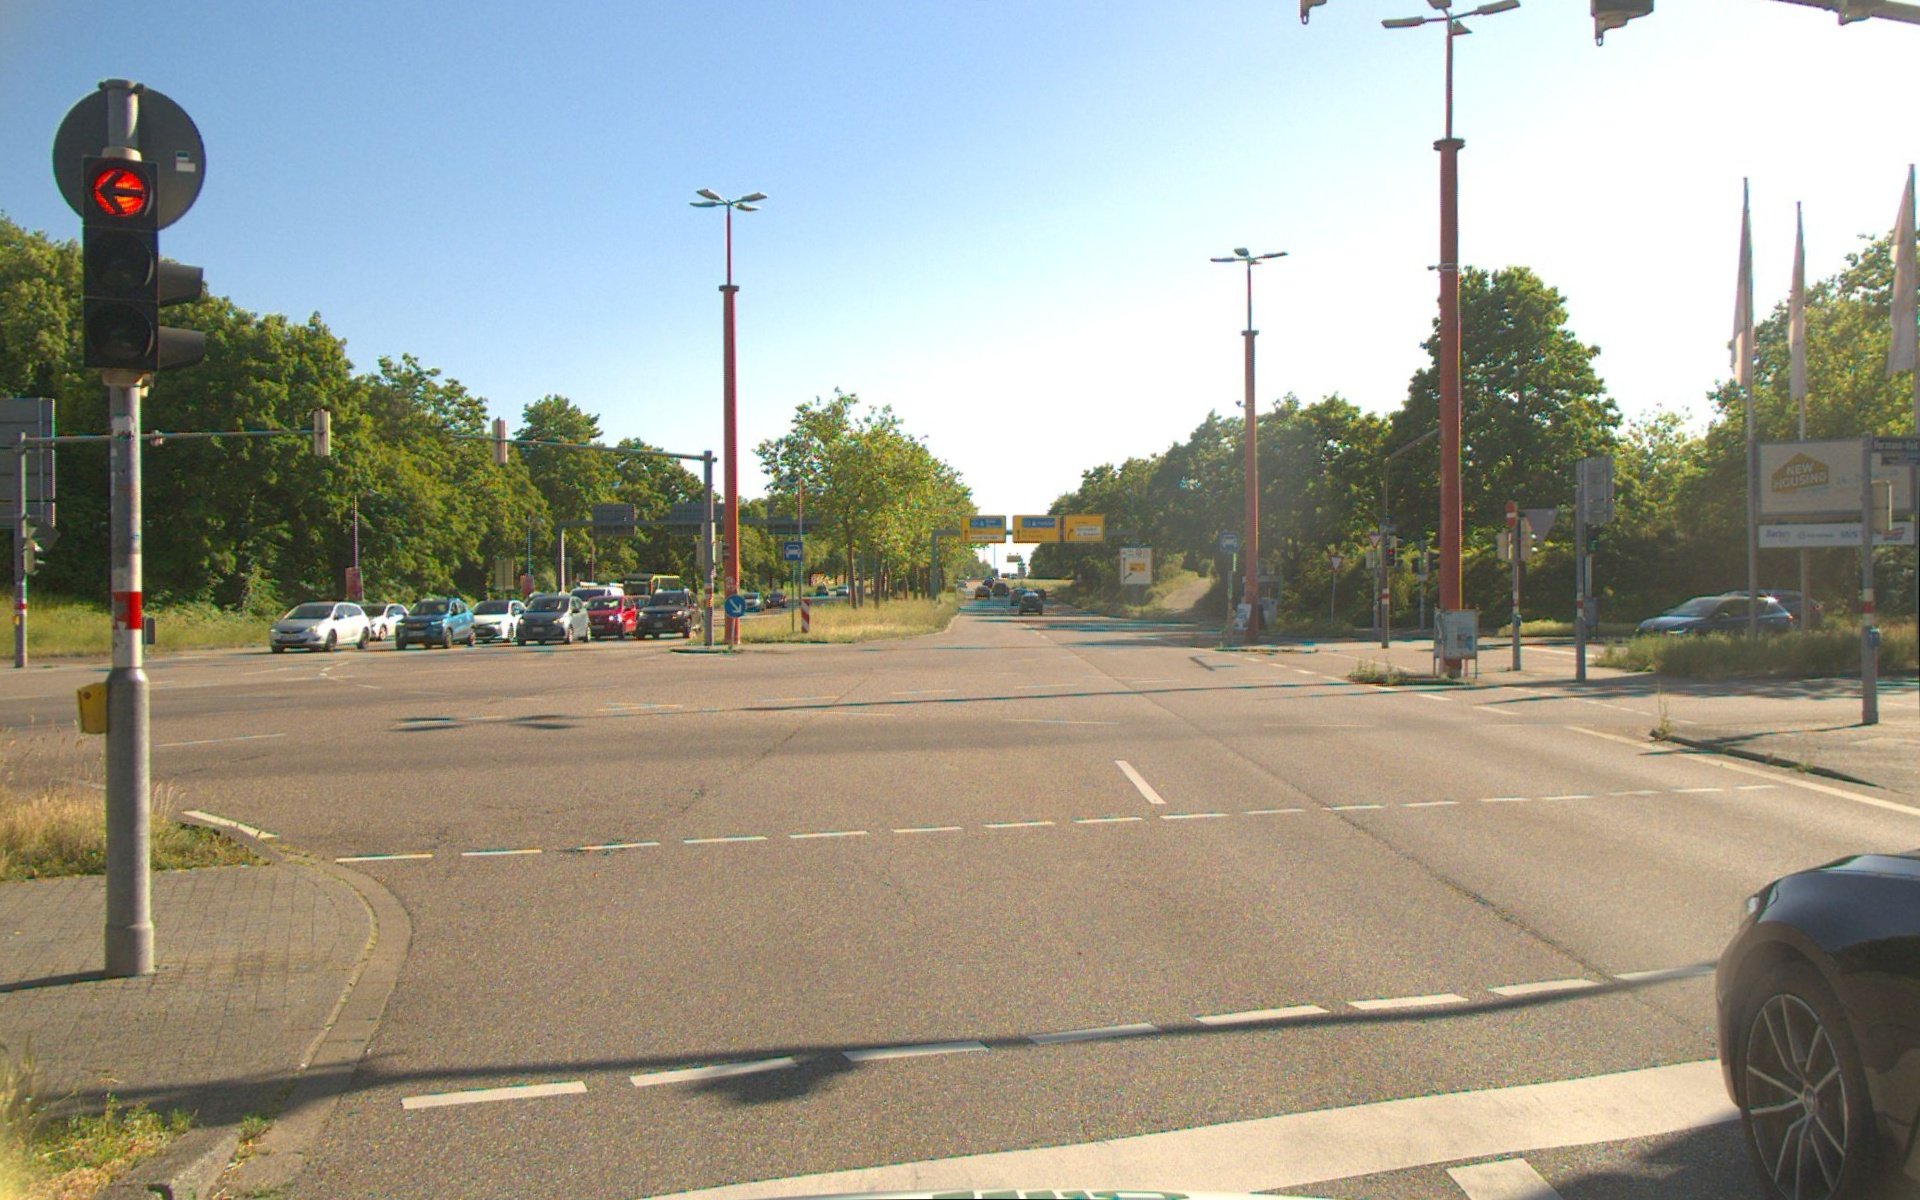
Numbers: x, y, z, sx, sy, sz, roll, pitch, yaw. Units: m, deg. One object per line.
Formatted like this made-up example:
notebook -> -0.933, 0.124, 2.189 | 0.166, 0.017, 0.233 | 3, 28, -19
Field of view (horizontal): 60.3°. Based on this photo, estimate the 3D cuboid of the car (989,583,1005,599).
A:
car -> 4.839, -1.209, 217.734 | 1.953, 2.049, 3.999 | 0, 0, -1

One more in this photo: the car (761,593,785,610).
car -> -18.080, 0.160, 160.032 | 1.953, 1.601, 4.120 | 0, 0, 0

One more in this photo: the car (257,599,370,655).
car -> -19.585, 0.786, 50.291 | 1.954, 1.601, 4.118 | 0, 0, -3

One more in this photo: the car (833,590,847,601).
car -> -16.678, -0.606, 230.128 | 1.840, 1.601, 3.943 | 0, 0, -5

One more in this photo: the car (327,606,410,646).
car -> -23.263, 0.996, 65.161 | 1.757, 1.478, 4.221 | 0, 0, 0

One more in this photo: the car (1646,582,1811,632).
car -> 25.490, 0.217, 54.967 | 4.474, 1.601, 2.166 | 0, 0, 0

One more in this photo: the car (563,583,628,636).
car -> -15.671, 0.388, 71.259 | 2.021, 2.231, 4.376 | 0, 0, -3

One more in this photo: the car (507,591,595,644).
car -> -12.804, 0.522, 51.958 | 1.954, 1.601, 4.118 | 0, 0, -4

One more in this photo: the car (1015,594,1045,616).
car -> 5.234, 0.374, 123.542 | 2.114, 1.601, 4.281 | 0, 0, 1

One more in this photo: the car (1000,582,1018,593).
car -> 7.043, -1.794, 237.329 | 2.116, 1.601, 4.277 | 0, 0, -4

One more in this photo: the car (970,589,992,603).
car -> 2.568, -0.491, 202.200 | 2.202, 1.601, 4.276 | 0, 0, -5

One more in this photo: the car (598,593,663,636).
car -> -12.710, 0.529, 64.040 | 1.954, 1.601, 4.117 | 0, 0, -4

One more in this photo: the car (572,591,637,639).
car -> -12.478, 0.508, 58.265 | 1.956, 1.601, 4.113 | 0, 0, -8

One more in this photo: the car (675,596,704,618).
car -> -20.391, 0.534, 124.637 | 1.840, 1.601, 4.116 | 0, 0, -5

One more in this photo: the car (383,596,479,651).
car -> -16.207, 0.683, 50.885 | 1.955, 1.601, 4.116 | 0, 0, -5

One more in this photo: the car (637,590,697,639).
car -> -9.873, 0.473, 55.985 | 1.841, 1.601, 4.113 | 0, 0, -8

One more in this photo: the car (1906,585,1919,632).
car -> 34.622, 0.270, 55.818 | 4.184, 1.601, 2.164 | 0, 0, -5

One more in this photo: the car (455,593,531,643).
car -> -15.989, 0.598, 56.778 | 1.956, 1.601, 4.113 | -1, 0, -8

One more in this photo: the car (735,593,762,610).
car -> -18.247, 0.136, 142.824 | 1.846, 1.480, 3.656 | 0, 0, 0

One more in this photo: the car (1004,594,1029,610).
car -> 5.703, 0.170, 167.642 | 2.116, 1.601, 4.277 | 0, 0, -4

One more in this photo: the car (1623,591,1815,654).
car -> 18.761, 0.530, 40.897 | 4.202, 1.453, 1.874 | 0, 0, -19

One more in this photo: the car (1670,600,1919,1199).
car -> 2.977, 0.713, 2.355 | 1.953, 1.419, 4.476 | 0, 0, -1
